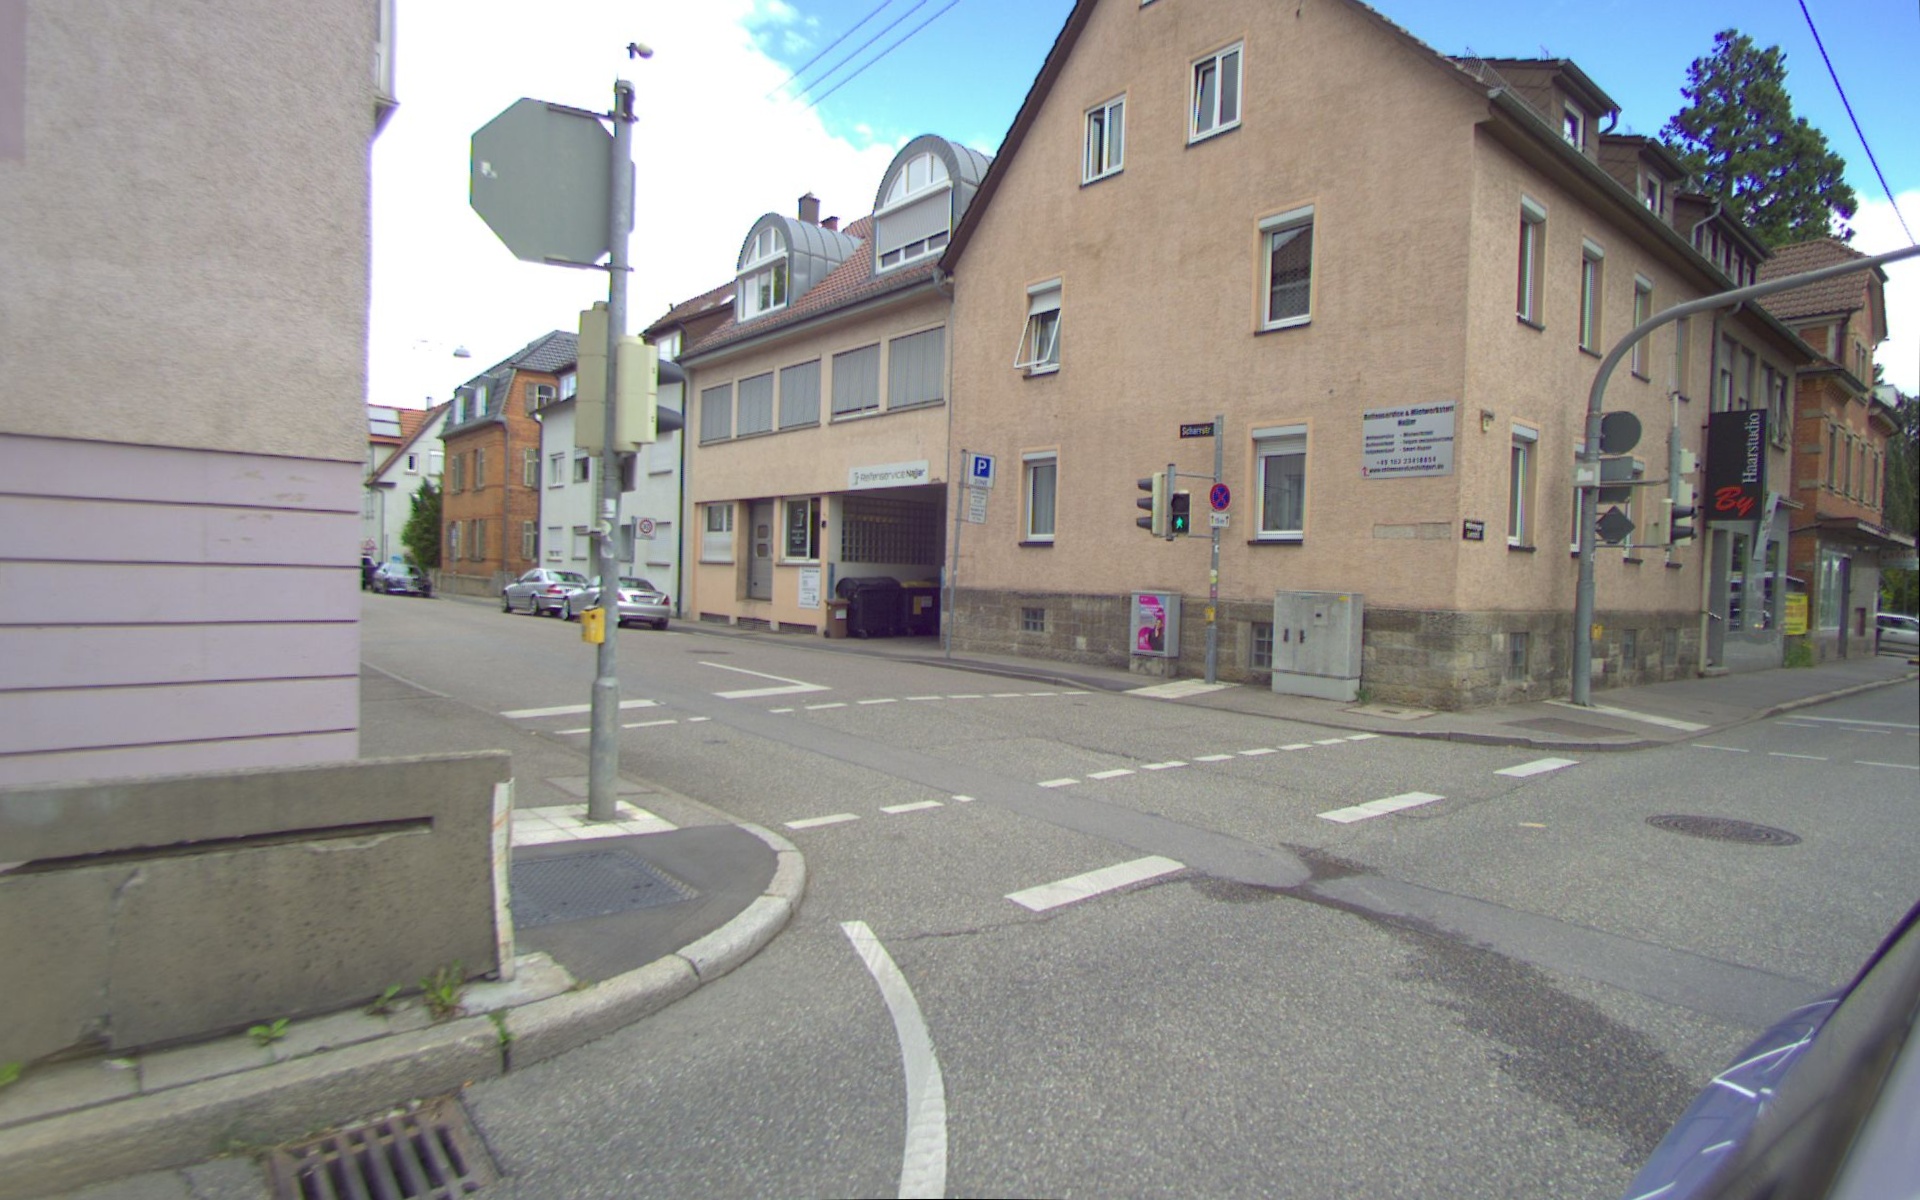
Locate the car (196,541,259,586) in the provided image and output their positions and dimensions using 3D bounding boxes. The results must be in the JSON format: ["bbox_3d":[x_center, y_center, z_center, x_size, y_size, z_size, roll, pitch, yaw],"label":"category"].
[{"bbox_3d":[-32.975,-1.611,45.516,1.965,1.907,3.994,0,1,-41],"label":"car"}]

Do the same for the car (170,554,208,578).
[{"bbox_3d":[-48.894,-2.154,64.162,1.706,1.479,3.995,0,1,-40],"label":"car"}]

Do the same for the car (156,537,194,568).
[{"bbox_3d":[-57.224,-3.442,73.732,1.965,2.151,3.994,0,1,-41],"label":"car"}]

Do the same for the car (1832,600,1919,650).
[{"bbox_3d":[33.774,0.948,35.908,1.573,1.487,4.039,0,6,-42],"label":"car"}]

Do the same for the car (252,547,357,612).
[{"bbox_3d":[-17.905,-0.550,27.557,1.857,1.639,3.994,0,1,-41],"label":"car"}]

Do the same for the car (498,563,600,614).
[{"bbox_3d":[-12.182,-0.357,29.871,1.695,1.386,3.996,0,1,-39],"label":"car"}]

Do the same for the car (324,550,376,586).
[{"bbox_3d":[-33.218,-1.737,55.047,1.844,1.873,3.996,0,1,-39],"label":"car"}]

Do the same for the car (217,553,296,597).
[{"bbox_3d":[-26.042,-0.909,37.400,1.965,1.523,3.994,0,1,-41],"label":"car"}]

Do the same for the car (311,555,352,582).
[{"bbox_3d":[-39.539,-1.967,63.625,1.690,1.660,3.996,0,1,-39],"label":"car"}]

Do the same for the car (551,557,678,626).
[{"bbox_3d":[-8.936,-0.248,25.994,1.760,1.639,3.995,0,1,-40],"label":"car"}]

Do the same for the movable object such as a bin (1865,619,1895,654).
[{"bbox_3d":[30.892,1.220,33.990,0.611,1.114,0.608,1,3,-40],"label":"movable object such as a bin"}]

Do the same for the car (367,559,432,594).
[{"bbox_3d":[-25.329,-1.063,45.657,1.845,1.460,3.995,0,1,-40],"label":"car"}]

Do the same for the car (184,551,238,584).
[{"bbox_3d":[-39.418,-1.700,53.210,1.965,1.639,3.994,0,1,-41],"label":"car"}]
